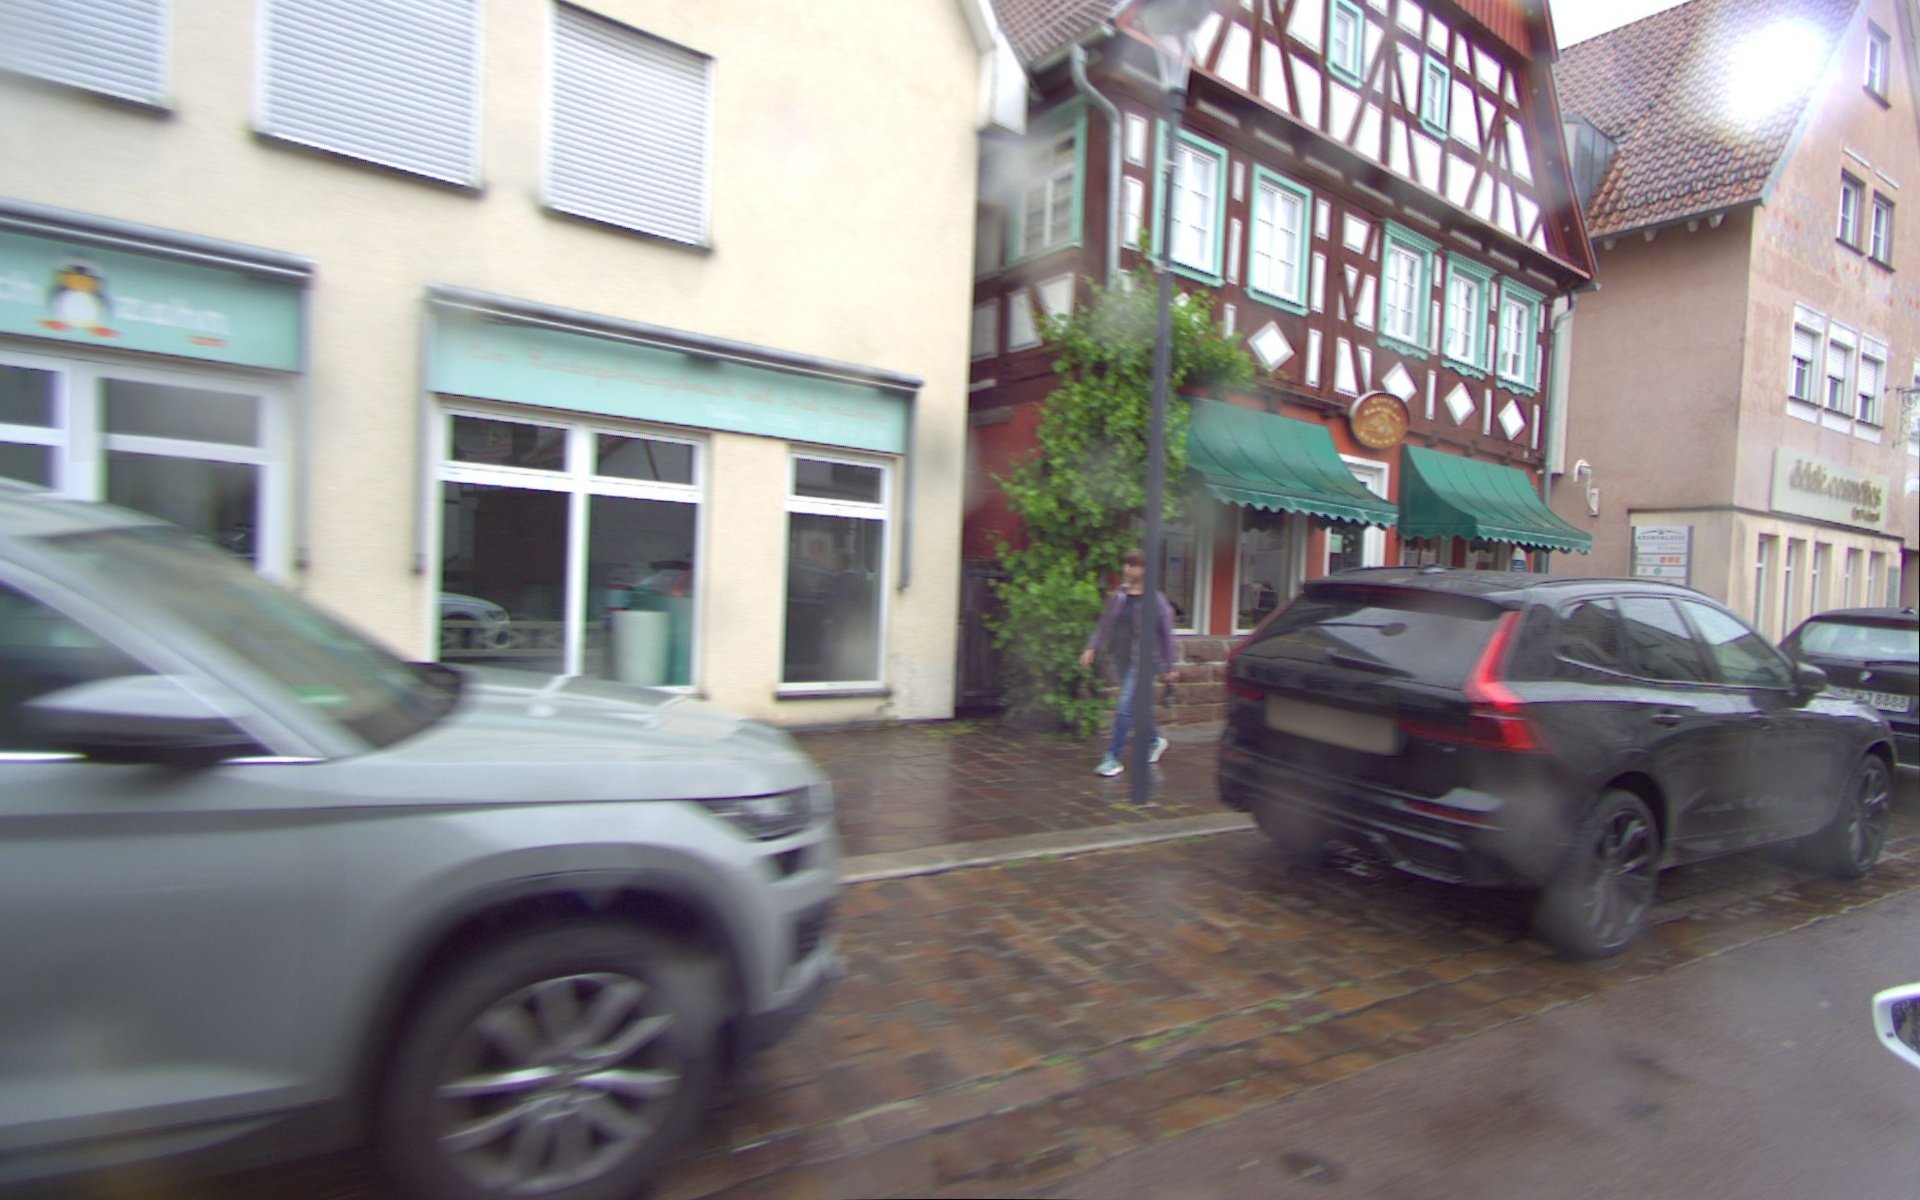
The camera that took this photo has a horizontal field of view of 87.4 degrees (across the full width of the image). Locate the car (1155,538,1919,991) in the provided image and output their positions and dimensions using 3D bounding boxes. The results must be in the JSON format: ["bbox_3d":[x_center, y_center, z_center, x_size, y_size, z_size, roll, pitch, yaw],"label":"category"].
[{"bbox_3d":[3.483,0.623,5.706,4.590,1.689,1.814,2,3,-31],"label":"car"}]

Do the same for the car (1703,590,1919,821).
[{"bbox_3d":[8.425,0.765,8.600,4.241,1.559,1.770,0,4,-31],"label":"car"}]

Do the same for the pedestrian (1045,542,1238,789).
[{"bbox_3d":[1.387,0.461,7.627,1.168,1.704,0.781,2,2,-41],"label":"pedestrian"}]

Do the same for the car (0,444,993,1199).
[{"bbox_3d":[-2.400,0.511,2.369,4.584,1.688,1.817,3,2,-27],"label":"car"}]
